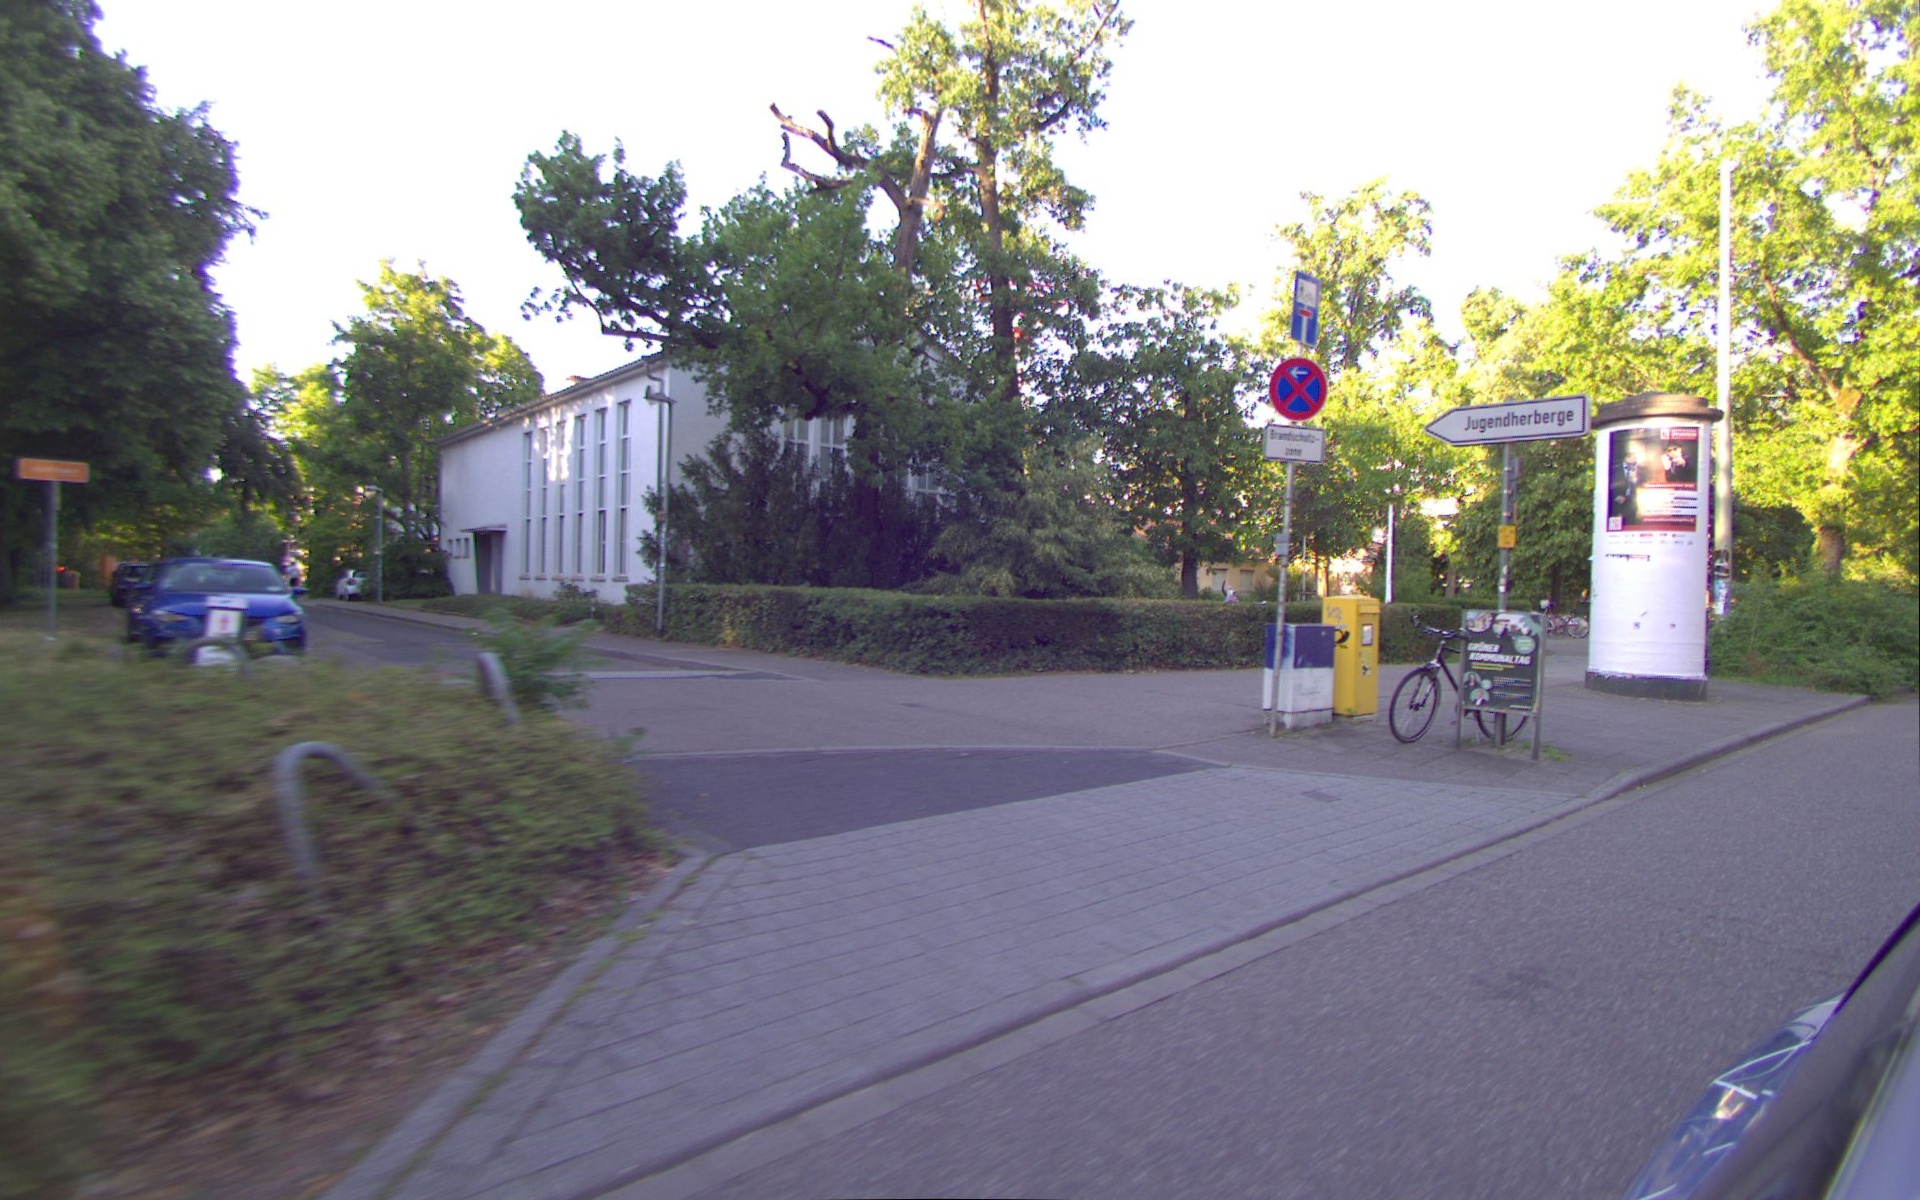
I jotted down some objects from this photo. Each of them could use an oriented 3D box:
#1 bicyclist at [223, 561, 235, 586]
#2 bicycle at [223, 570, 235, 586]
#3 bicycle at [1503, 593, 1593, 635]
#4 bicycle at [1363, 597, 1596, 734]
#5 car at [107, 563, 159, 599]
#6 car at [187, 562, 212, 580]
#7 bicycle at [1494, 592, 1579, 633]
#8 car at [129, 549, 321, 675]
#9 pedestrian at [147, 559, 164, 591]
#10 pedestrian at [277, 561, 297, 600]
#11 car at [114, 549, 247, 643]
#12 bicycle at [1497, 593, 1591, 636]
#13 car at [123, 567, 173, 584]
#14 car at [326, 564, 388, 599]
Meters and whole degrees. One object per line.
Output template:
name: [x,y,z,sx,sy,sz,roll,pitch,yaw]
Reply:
bicyclist: [-60.640,-2.230,83.957,0.739,2.039,0.690,0,-1,-39]
bicycle: [-60.592,-1.854,83.891,0.734,1.282,2.132,0,1,-38]
bicycle: [18.760,0.433,32.300,2.433,1.236,0.742,2,1,33]
bicycle: [4.881,0.612,9.475,2.237,1.162,0.495,2,3,-21]
car: [-36.561,-0.856,44.719,1.706,1.495,3.994,0,1,-41]
car: [-86.704,-3.299,115.366,1.966,2.039,3.992,0,1,-43]
bicycle: [19.377,0.400,34.026,2.433,1.314,0.742,2,1,33]
car: [-10.178,0.085,13.881,1.803,1.460,4.147,0,1,-41]
pedestrian: [-47.367,-1.476,59.594,0.709,1.860,0.739,0,1,-43]
pedestrian: [-32.690,-0.955,49.160,0.709,1.860,0.739,0,1,-43]
car: [-14.162,-0.113,18.299,1.706,1.495,3.994,0,1,-41]
bicycle: [17.996,0.421,31.230,2.436,1.236,0.741,2,1,37]
car: [-82.628,-2.461,102.949,3.930,1.682,1.997,0,1,-41]
car: [-28.680,-0.885,48.089,1.965,1.627,3.766,0,1,-40]
